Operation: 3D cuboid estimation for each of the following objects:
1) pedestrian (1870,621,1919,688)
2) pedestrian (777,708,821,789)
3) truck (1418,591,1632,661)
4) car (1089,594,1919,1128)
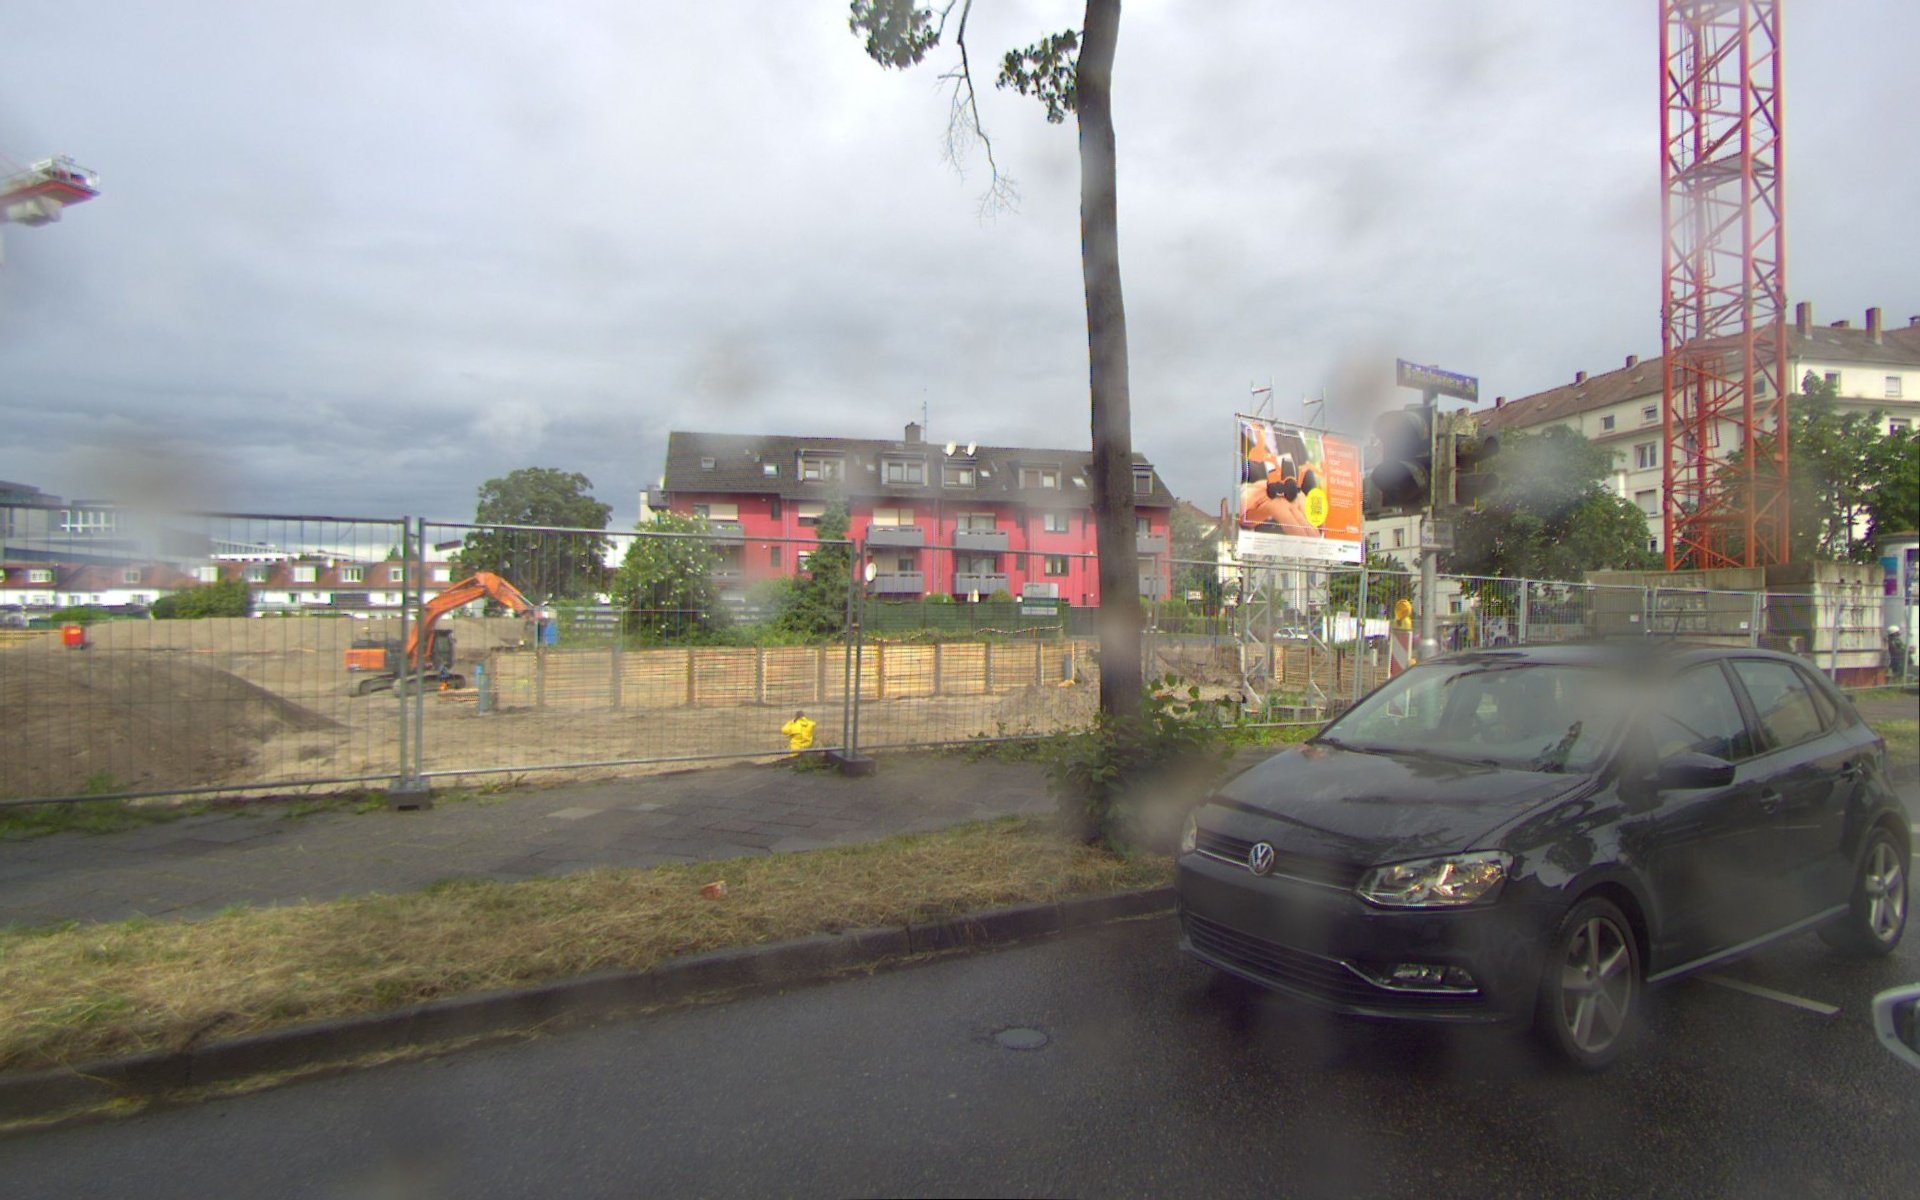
[{"bbox_3d":[23.735,1.365,25.494,0.710,1.651,0.684,1,0,23],"label":"pedestrian"},{"bbox_3d":[-3.572,3.271,22.309,0.837,1.706,0.585,1,-4,-25],"label":"pedestrian"},{"bbox_3d":[28.729,1.394,51.874,3.729,3.226,9.815,0,-2,-16],"label":"truck"},{"bbox_3d":[2.724,0.820,4.746,3.935,1.561,1.805,1,-2,-30],"label":"car"}]
